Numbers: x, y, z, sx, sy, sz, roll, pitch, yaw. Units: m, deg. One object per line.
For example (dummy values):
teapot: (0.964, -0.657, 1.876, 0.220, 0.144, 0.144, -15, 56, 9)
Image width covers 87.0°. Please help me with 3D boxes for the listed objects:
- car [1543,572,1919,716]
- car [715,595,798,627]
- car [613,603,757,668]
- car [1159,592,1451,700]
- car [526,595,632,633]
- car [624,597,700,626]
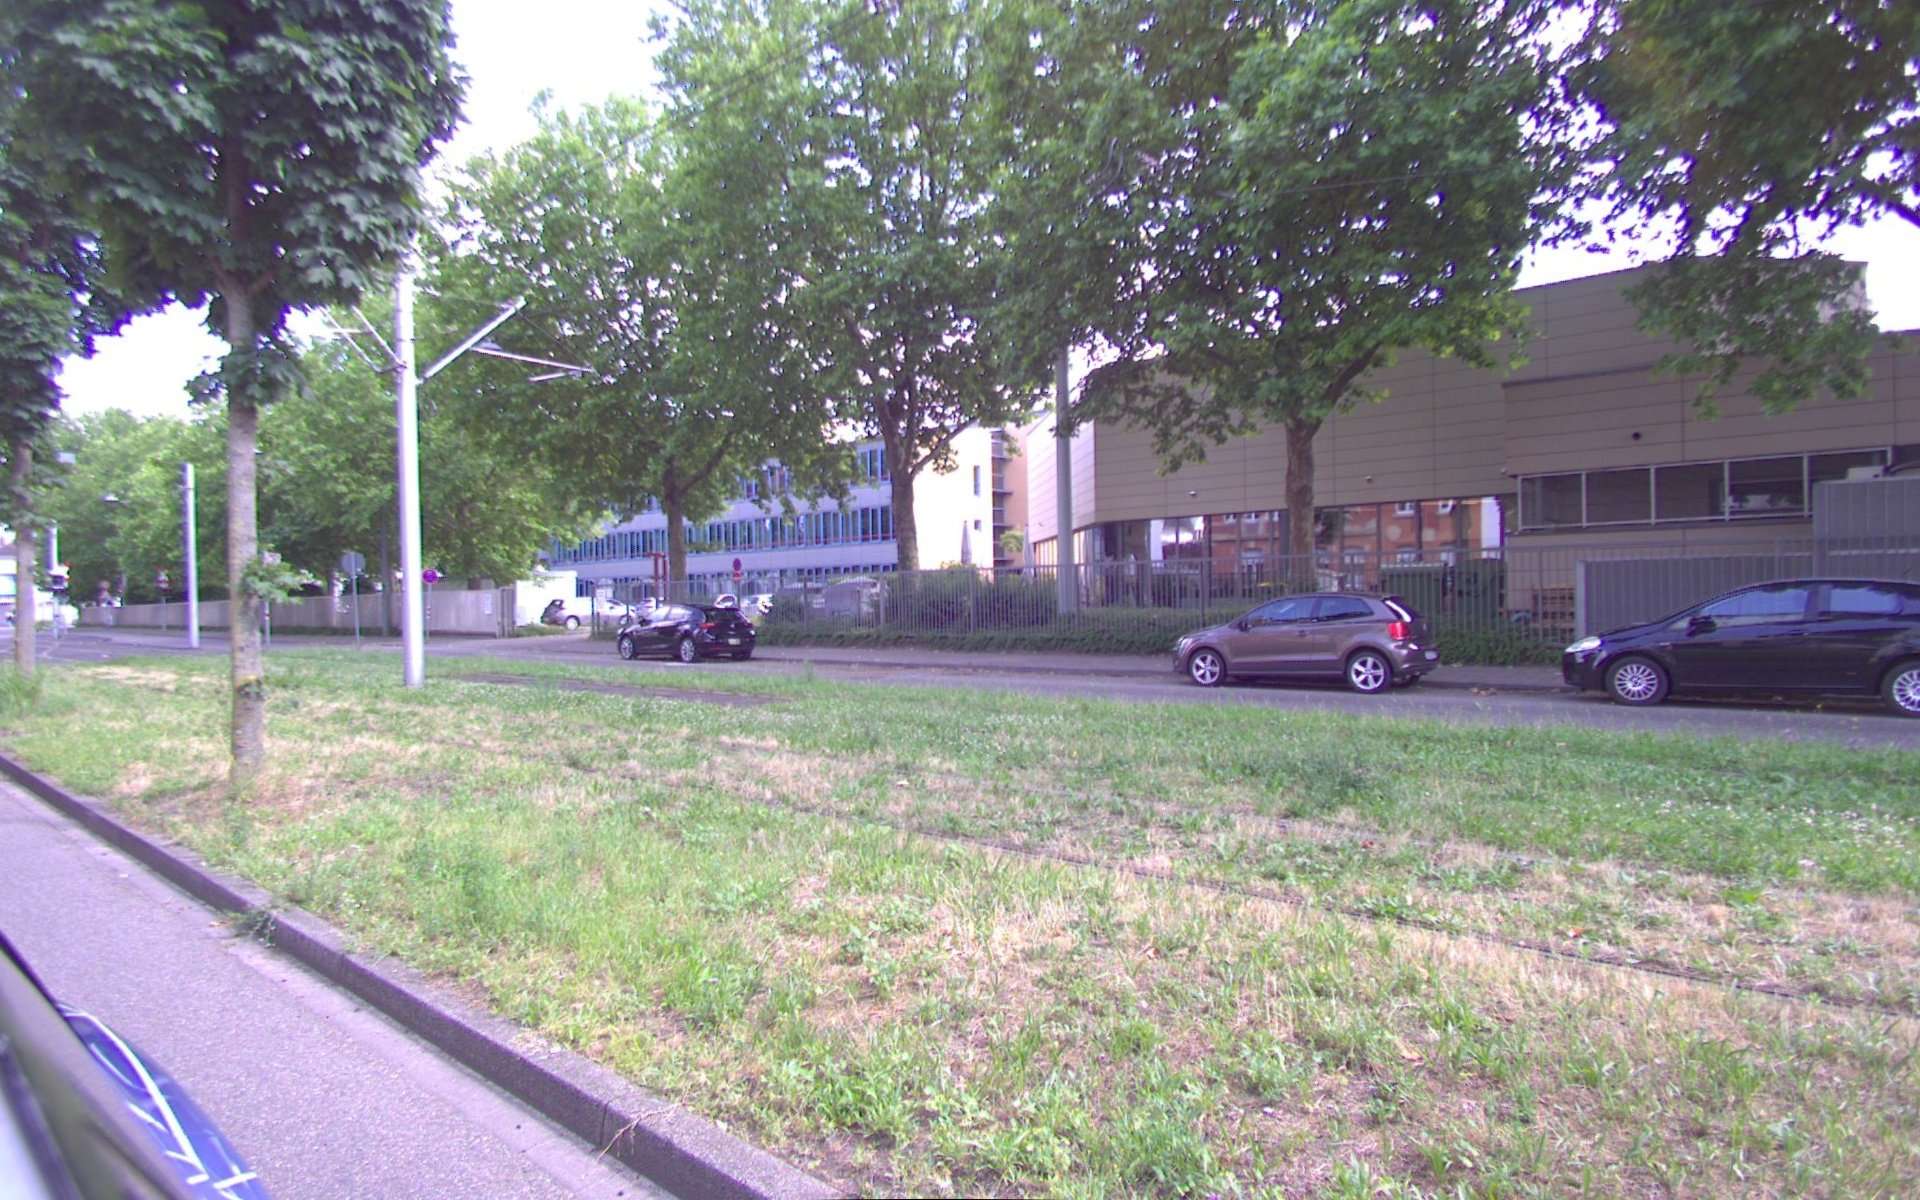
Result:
car: (9.300, 0.452, 11.821, 4.000, 1.464, 1.783, -1, 0, 43)
car: (-10.726, 0.557, 53.475, 1.998, 1.630, 3.948, -1, 0, 38)
car: (-6.991, 0.865, 25.515, 3.999, 1.475, 1.580, -1, 0, 42)
car: (5.153, 0.639, 15.399, 3.899, 1.436, 1.538, -1, 0, 40)
car: (-16.875, 0.590, 44.925, 1.998, 1.630, 3.948, -1, 0, 38)
car: (-17.787, 0.674, 60.593, 1.998, 1.630, 3.948, -1, 0, 38)
